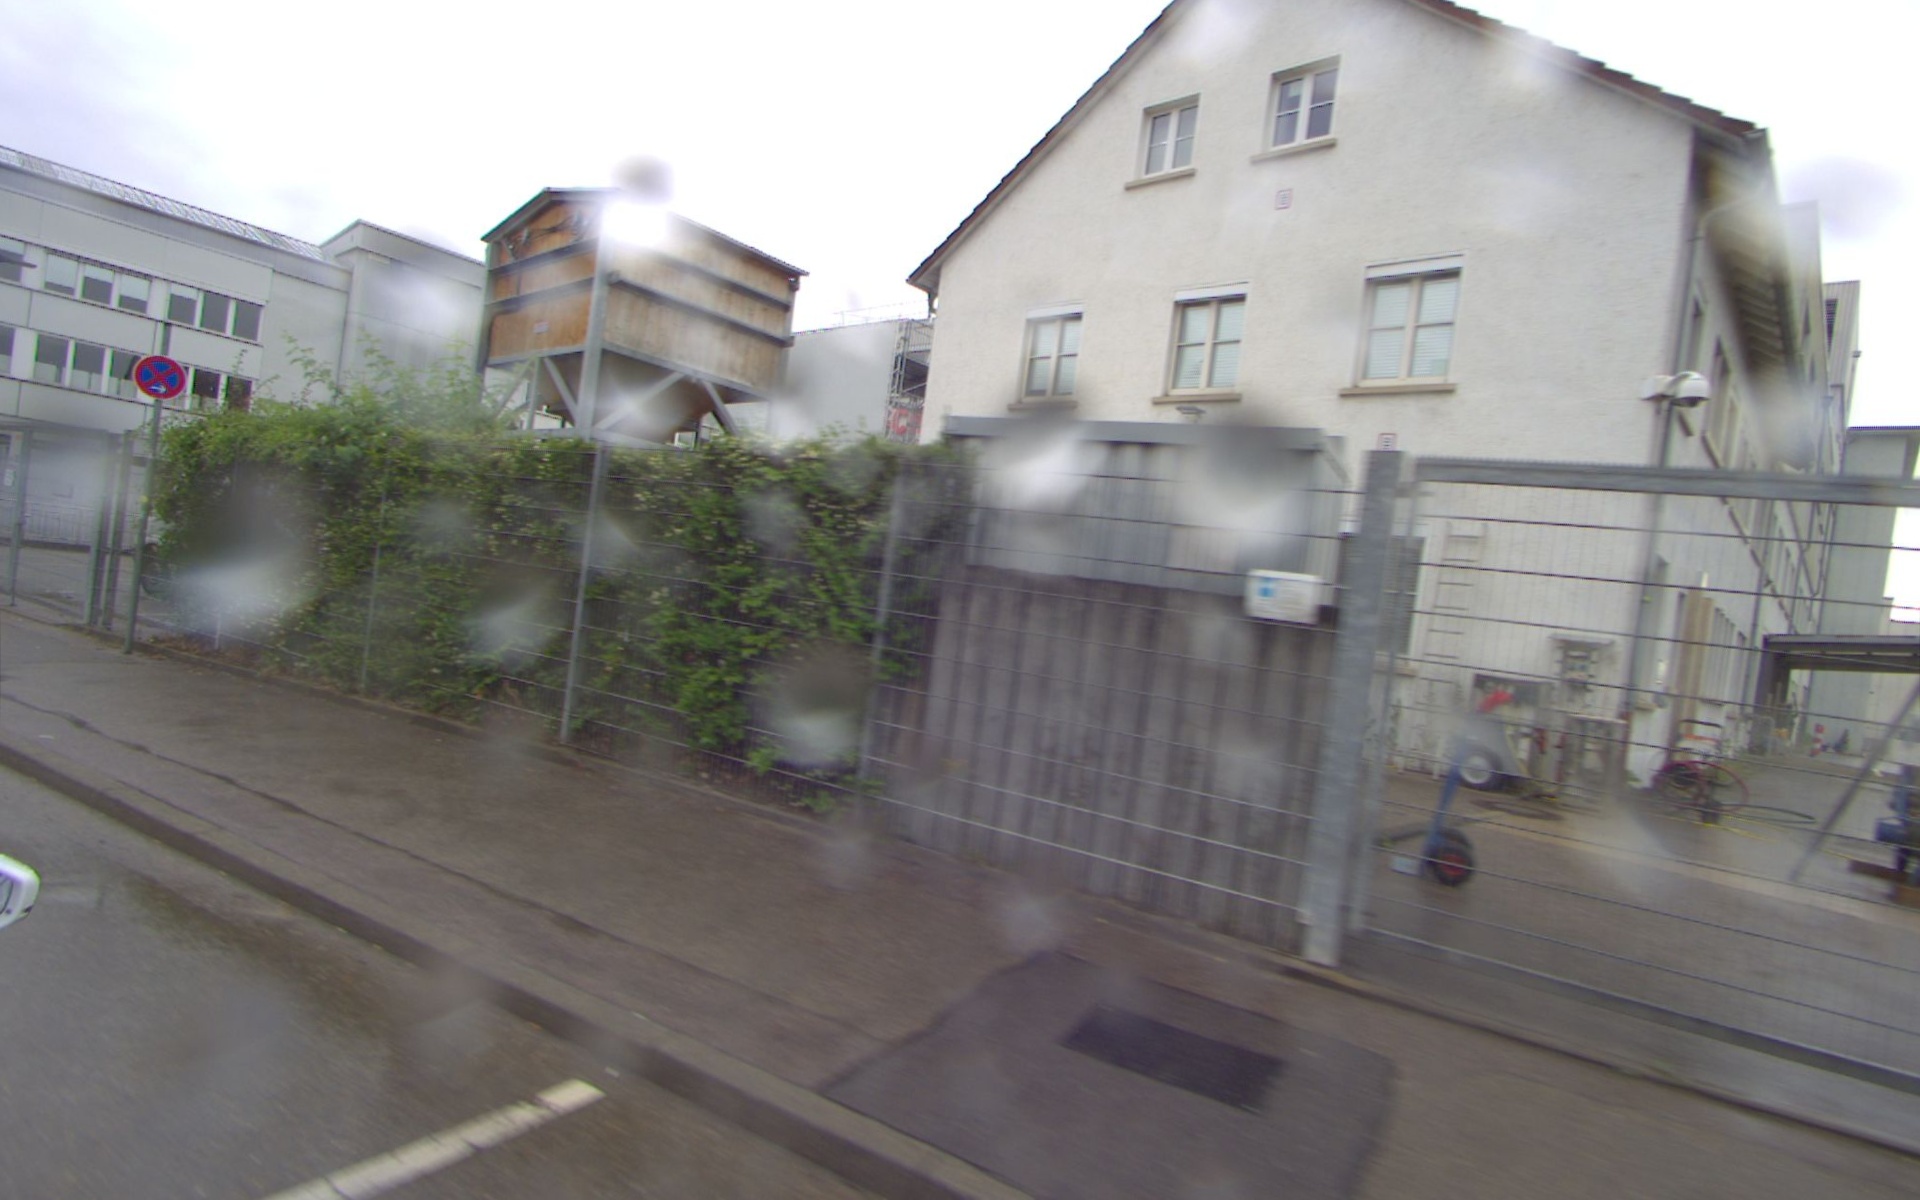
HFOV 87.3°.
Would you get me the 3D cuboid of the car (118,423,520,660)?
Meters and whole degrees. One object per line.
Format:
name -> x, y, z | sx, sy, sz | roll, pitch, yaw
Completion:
car -> -9.642, -0.916, 15.032 | 5.844, 2.719, 1.998 | 8, 2, 24
